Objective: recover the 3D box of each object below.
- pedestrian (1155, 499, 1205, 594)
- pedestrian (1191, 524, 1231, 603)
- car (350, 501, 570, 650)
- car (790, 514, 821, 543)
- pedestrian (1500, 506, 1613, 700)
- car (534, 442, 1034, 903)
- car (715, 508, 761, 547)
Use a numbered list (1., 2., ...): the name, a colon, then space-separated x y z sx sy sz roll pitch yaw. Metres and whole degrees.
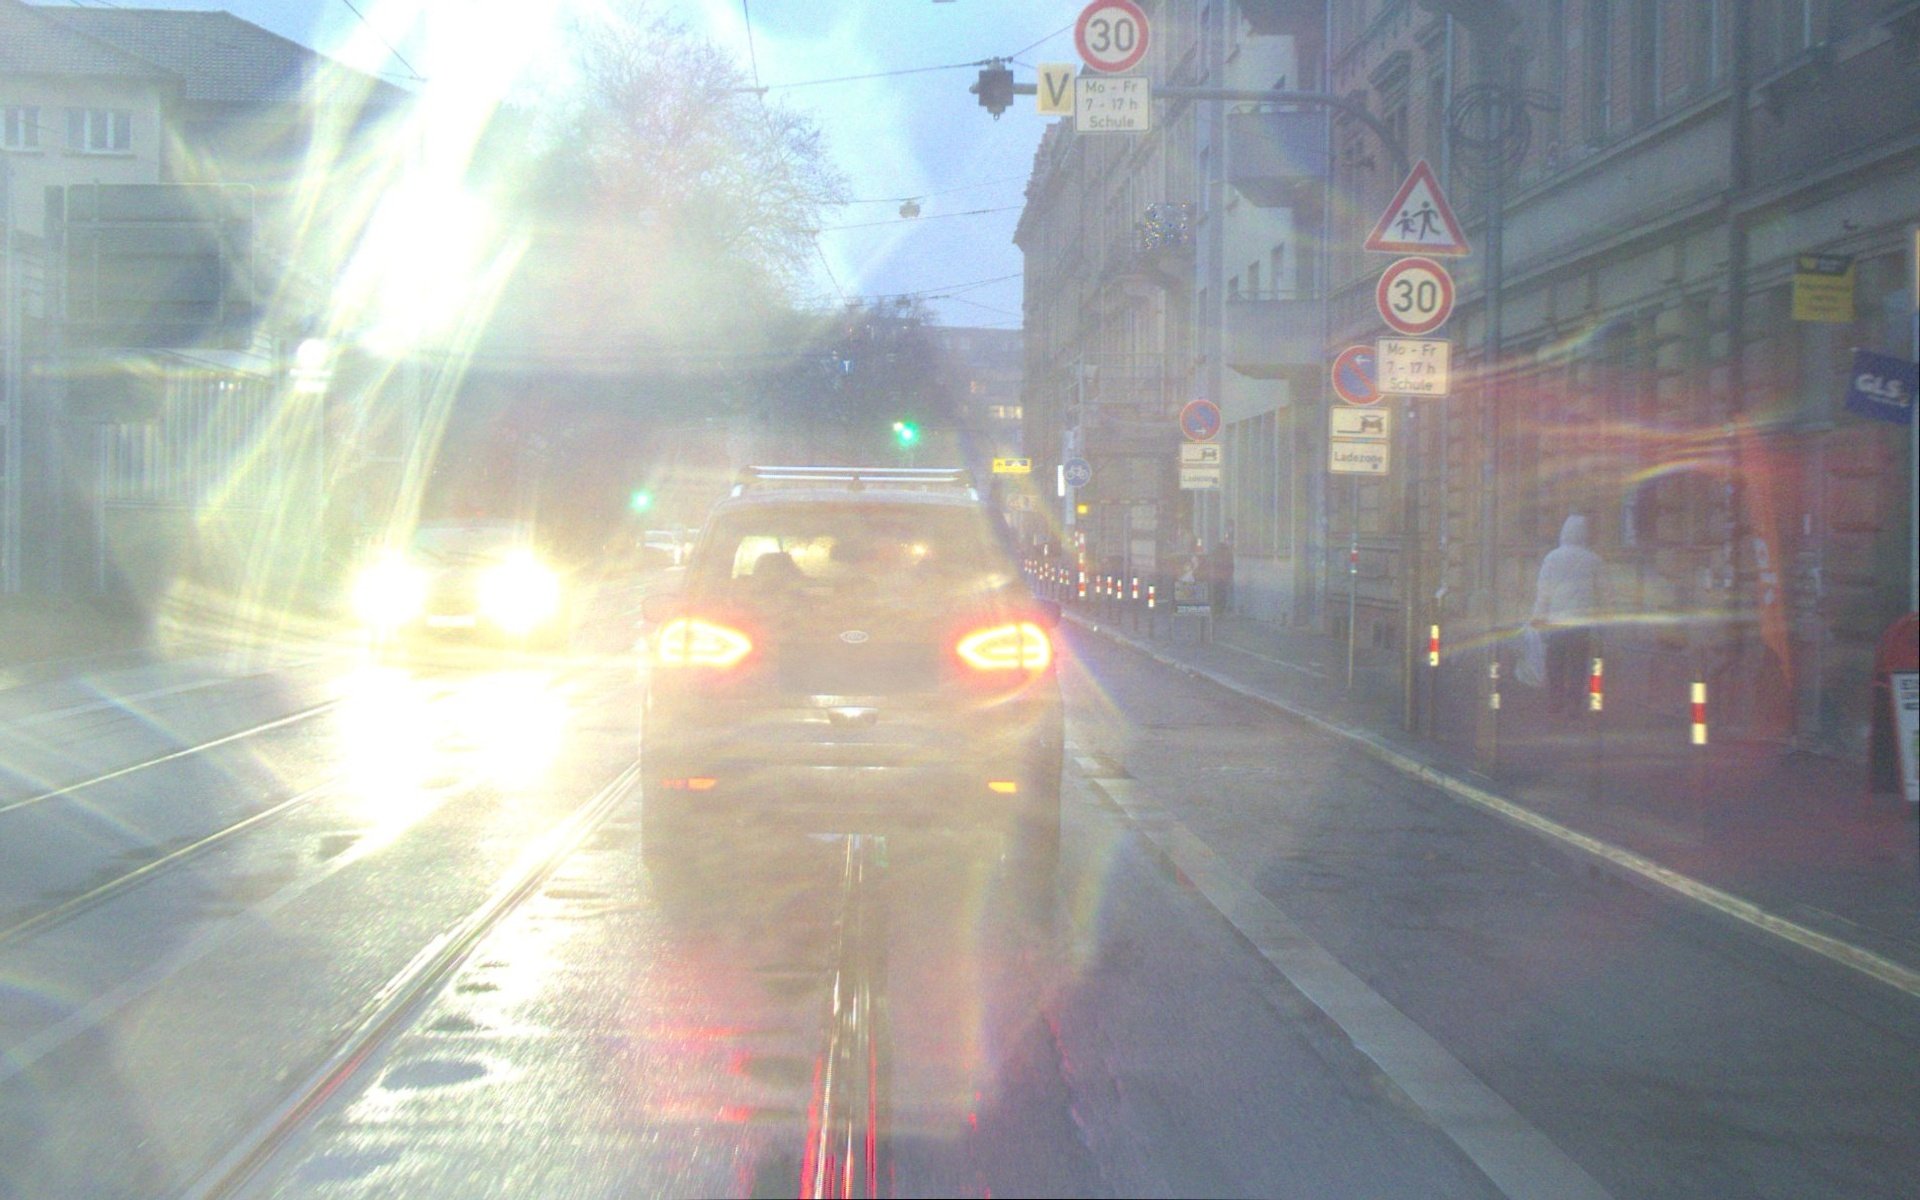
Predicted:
1. pedestrian: 4.232 -1.038 66.170 0.598 1.812 0.776 1 1 -29
2. pedestrian: 4.416 -0.639 60.490 0.600 1.372 0.728 1 1 -2
3. car: -5.606 -0.307 39.041 1.841 1.573 4.442 1 1 0
4. car: -7.954 -3.683 177.144 1.530 1.476 3.561 1 1 -1
5. pedestrian: 4.963 0.018 28.641 0.786 1.592 0.742 1 1 0
6. car: -0.672 0.257 15.945 1.993 1.835 4.000 1 1 1
7. car: -9.738 -3.198 151.091 1.875 1.704 4.761 0 1 -2
